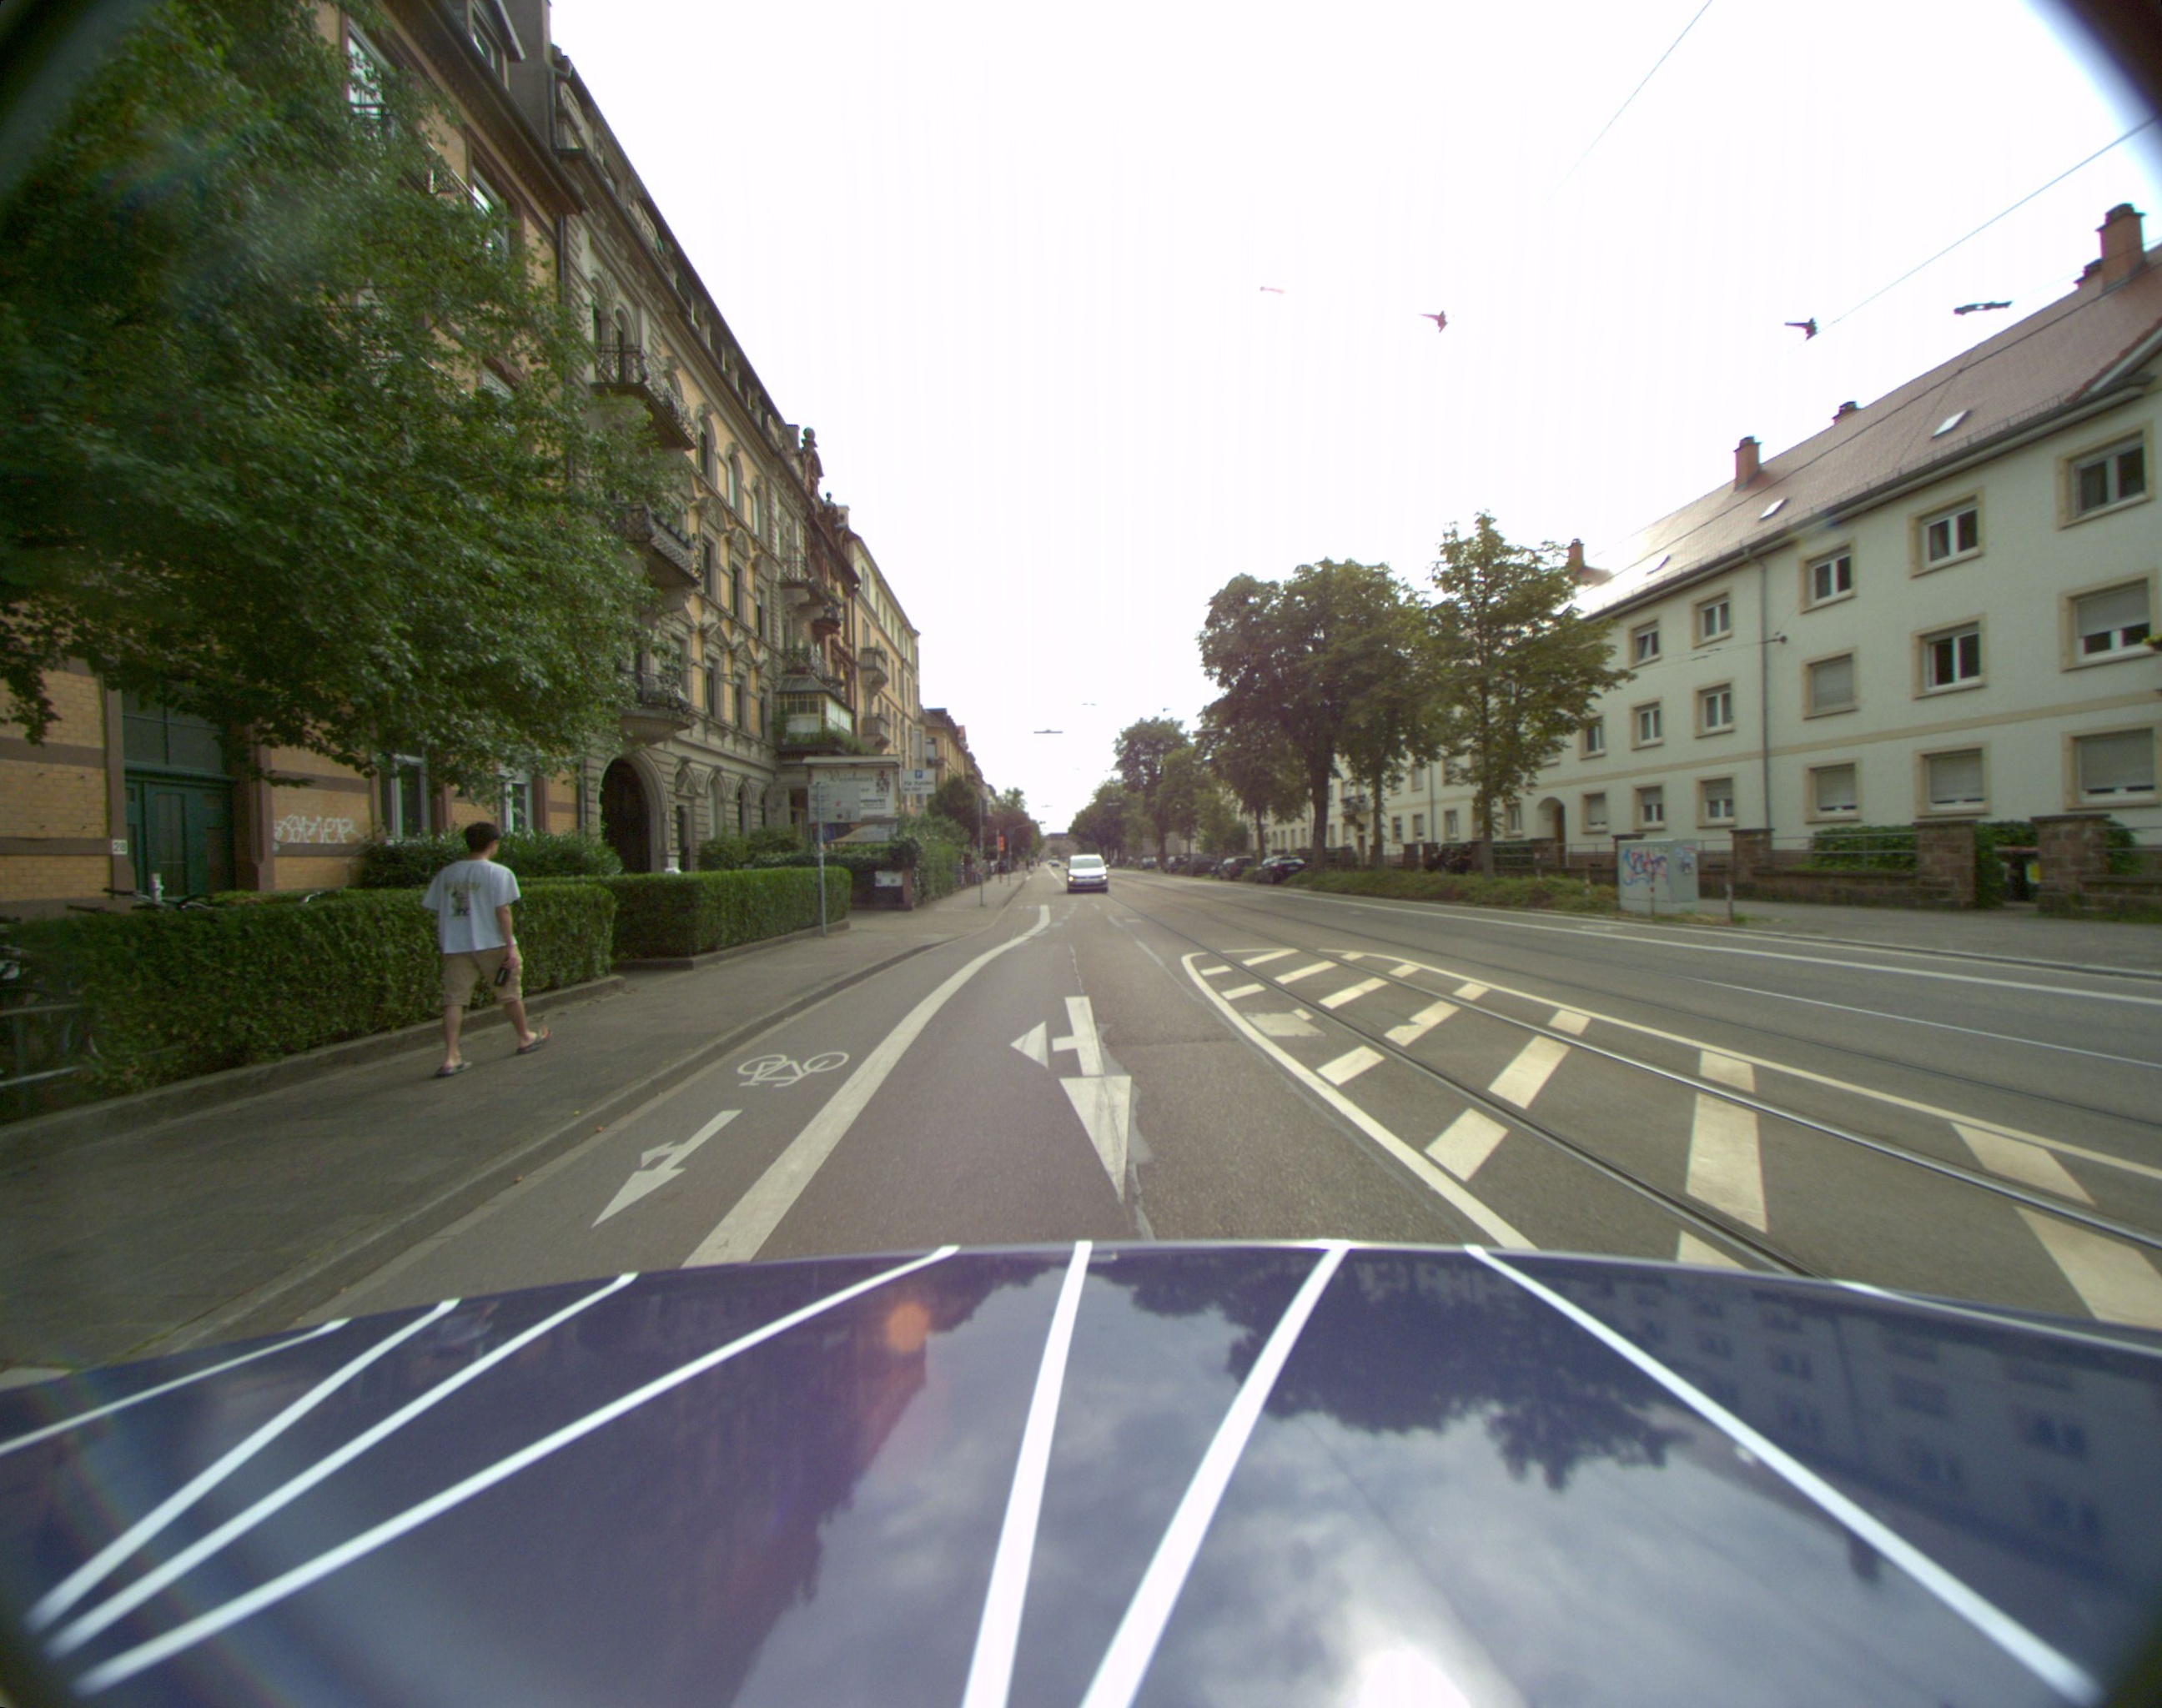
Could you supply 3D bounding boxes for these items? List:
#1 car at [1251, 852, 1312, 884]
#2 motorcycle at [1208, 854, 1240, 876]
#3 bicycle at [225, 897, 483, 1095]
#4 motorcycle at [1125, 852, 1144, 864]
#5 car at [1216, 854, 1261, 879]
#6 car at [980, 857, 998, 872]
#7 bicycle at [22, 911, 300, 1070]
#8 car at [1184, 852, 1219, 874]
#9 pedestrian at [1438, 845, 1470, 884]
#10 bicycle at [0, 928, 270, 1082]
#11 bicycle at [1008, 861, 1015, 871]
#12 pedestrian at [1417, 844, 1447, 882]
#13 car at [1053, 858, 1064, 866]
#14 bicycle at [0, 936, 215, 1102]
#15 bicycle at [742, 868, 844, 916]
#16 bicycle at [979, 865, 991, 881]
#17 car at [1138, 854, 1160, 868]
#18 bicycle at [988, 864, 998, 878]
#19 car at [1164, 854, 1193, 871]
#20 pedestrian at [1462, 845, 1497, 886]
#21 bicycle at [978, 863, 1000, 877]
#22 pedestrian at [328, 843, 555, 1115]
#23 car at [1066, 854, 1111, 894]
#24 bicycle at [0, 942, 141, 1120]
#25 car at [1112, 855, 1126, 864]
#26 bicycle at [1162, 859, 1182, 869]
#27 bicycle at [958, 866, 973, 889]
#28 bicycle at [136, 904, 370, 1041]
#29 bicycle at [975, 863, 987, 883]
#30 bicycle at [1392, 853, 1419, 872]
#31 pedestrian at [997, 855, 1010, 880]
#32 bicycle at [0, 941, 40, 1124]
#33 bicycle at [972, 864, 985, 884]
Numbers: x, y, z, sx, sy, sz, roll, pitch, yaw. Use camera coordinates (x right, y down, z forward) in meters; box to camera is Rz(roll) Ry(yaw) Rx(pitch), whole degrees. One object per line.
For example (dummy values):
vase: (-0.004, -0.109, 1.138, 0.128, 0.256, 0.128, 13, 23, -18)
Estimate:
car: (10.151, 0.683, 38.829, 1.701, 1.415, 4.299, -5, 0, -3)
motorcycle: (9.585, 0.751, 50.902, 1.872, 1.253, 0.591, -7, 1, -6)
bicycle: (-5.623, 1.022, 6.012, 0.517, 1.274, 1.550, -1, 0, 0)
motorcycle: (7.251, 0.533, 102.579, 2.312, 1.382, 0.838, -6, 1, 29)
car: (9.696, 0.725, 47.054, 1.701, 1.415, 4.299, -3, 0, -3)
car: (-9.911, 1.129, 81.792, 1.757, 1.516, 3.997, -2, 0, -8)
bicycle: (-7.585, 1.103, 6.315, 1.549, 1.174, 0.517, -1, 0, -4)
car: (9.214, 0.693, 58.486, 1.790, 1.602, 4.299, -1, 0, -3)
pedestrian: (14.370, 0.407, 29.290, 0.835, 1.456, 0.732, -2, 0, -8)
bicycle: (-7.034, 1.087, 5.590, 1.549, 1.003, 0.444, -1, 0, -4)
bicycle: (-8.044, 1.364, 87.692, 0.630, 1.106, 1.874, -1, 0, -2)
pedestrian: (14.302, 0.355, 30.971, 0.835, 1.503, 0.732, -2, 0, -8)
car: (-4.599, 1.635, 157.917, 1.947, 1.675, 4.000, -1, 0, 2)
bicycle: (-6.966, 1.107, 5.152, 1.549, 1.003, 0.444, -1, 0, -4)
bicycle: (-8.326, 1.087, 22.069, 2.631, 1.304, 0.770, -1, 0, -5)
bicycle: (-6.181, 1.189, 49.000, 0.580, 0.977, 1.671, 2, 0, -3)
car: (7.784, 0.799, 87.000, 1.701, 1.462, 4.298, -2, 0, -5)
bicycle: (-6.366, 1.226, 54.887, 0.580, 0.977, 1.671, 2, 0, -3)
car: (8.637, 0.729, 67.762, 1.701, 1.462, 4.298, -1, 0, -5)
pedestrian: (14.568, 0.406, 27.796, 0.835, 1.456, 0.732, -2, 0, -8)
bicycle: (-7.781, 1.331, 64.315, 0.629, 1.106, 1.878, -1, 0, 40)
pedestrian: (-4.455, 0.812, 5.377, 0.732, 1.744, 0.950, -1, 0, 2)
car: (0.275, 0.847, 35.321, 1.876, 1.670, 5.130, -2, 0, -1)
bicycle: (-6.952, 1.095, 4.718, 1.549, 1.003, 0.444, -1, 0, -4)
car: (6.233, 0.881, 124.303, 1.732, 1.462, 4.298, -1, 0, -5)
bicycle: (8.674, 0.964, 72.385, 1.672, 0.965, 0.672, -1, 0, -11)
bicycle: (-5.778, 1.162, 38.042, 0.580, 1.105, 1.671, -1, 0, -4)
bicycle: (-7.842, 1.105, 7.241, 1.549, 1.174, 0.517, -1, 0, -4)
bicycle: (-5.957, 1.114, 45.371, 0.580, 1.105, 1.671, 2, 0, -3)
bicycle: (15.107, 0.398, 35.399, 0.510, 0.858, 1.550, -1, 0, -2)
pedestrian: (-5.083, 0.902, 49.978, 0.732, 1.614, 0.835, -1, 0, -3)
bicycle: (-6.818, 1.024, 4.135, 1.549, 1.003, 0.444, -1, 0, -4)
bicycle: (-5.855, 1.119, 43.401, 0.580, 1.105, 1.671, 2, 0, -3)
